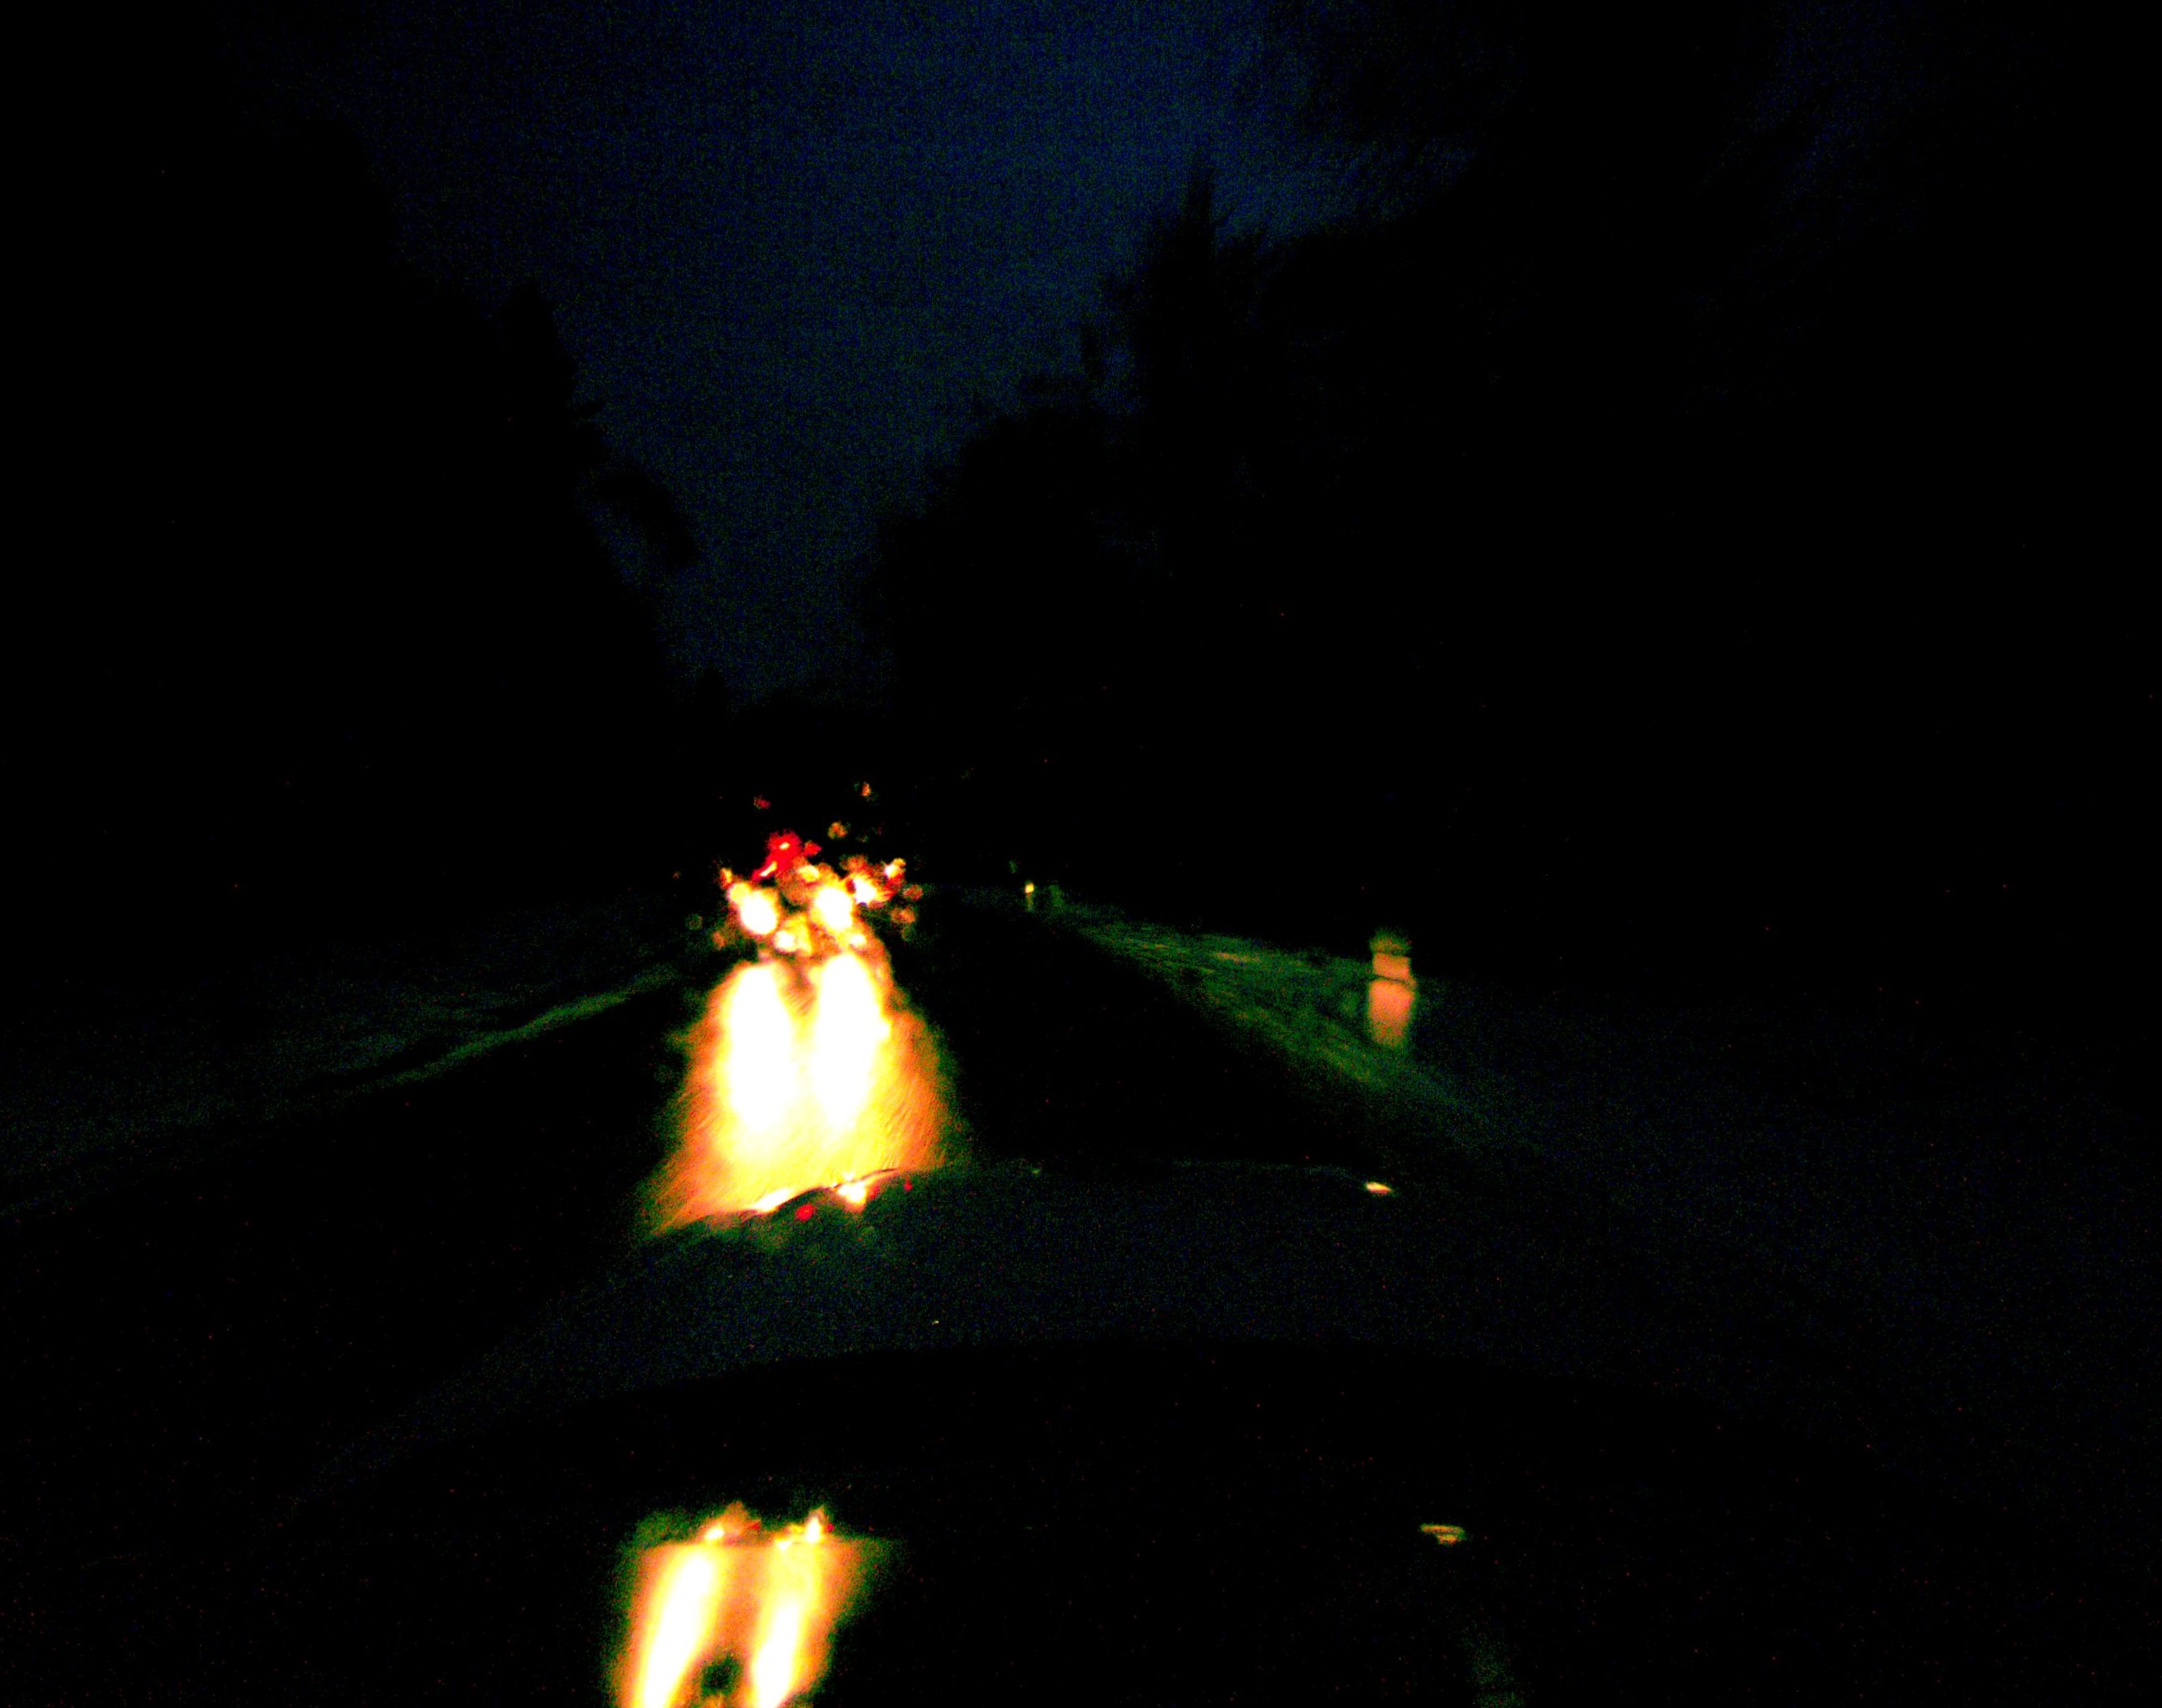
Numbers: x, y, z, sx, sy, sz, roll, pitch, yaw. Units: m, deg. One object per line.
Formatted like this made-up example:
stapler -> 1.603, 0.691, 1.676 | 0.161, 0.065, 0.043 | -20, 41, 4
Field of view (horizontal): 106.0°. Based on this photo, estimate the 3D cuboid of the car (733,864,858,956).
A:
car -> -5.644, 1.000, 16.638 | 1.775, 1.492, 4.529 | -3, 0, -12

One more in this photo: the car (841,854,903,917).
car -> -7.689, 1.120, 29.992 | 1.997, 2.052, 3.980 | -2, -1, -14

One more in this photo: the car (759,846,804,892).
car -> -18.689, 0.930, 50.637 | 2.262, 2.645, 4.966 | -2, -1, -24
